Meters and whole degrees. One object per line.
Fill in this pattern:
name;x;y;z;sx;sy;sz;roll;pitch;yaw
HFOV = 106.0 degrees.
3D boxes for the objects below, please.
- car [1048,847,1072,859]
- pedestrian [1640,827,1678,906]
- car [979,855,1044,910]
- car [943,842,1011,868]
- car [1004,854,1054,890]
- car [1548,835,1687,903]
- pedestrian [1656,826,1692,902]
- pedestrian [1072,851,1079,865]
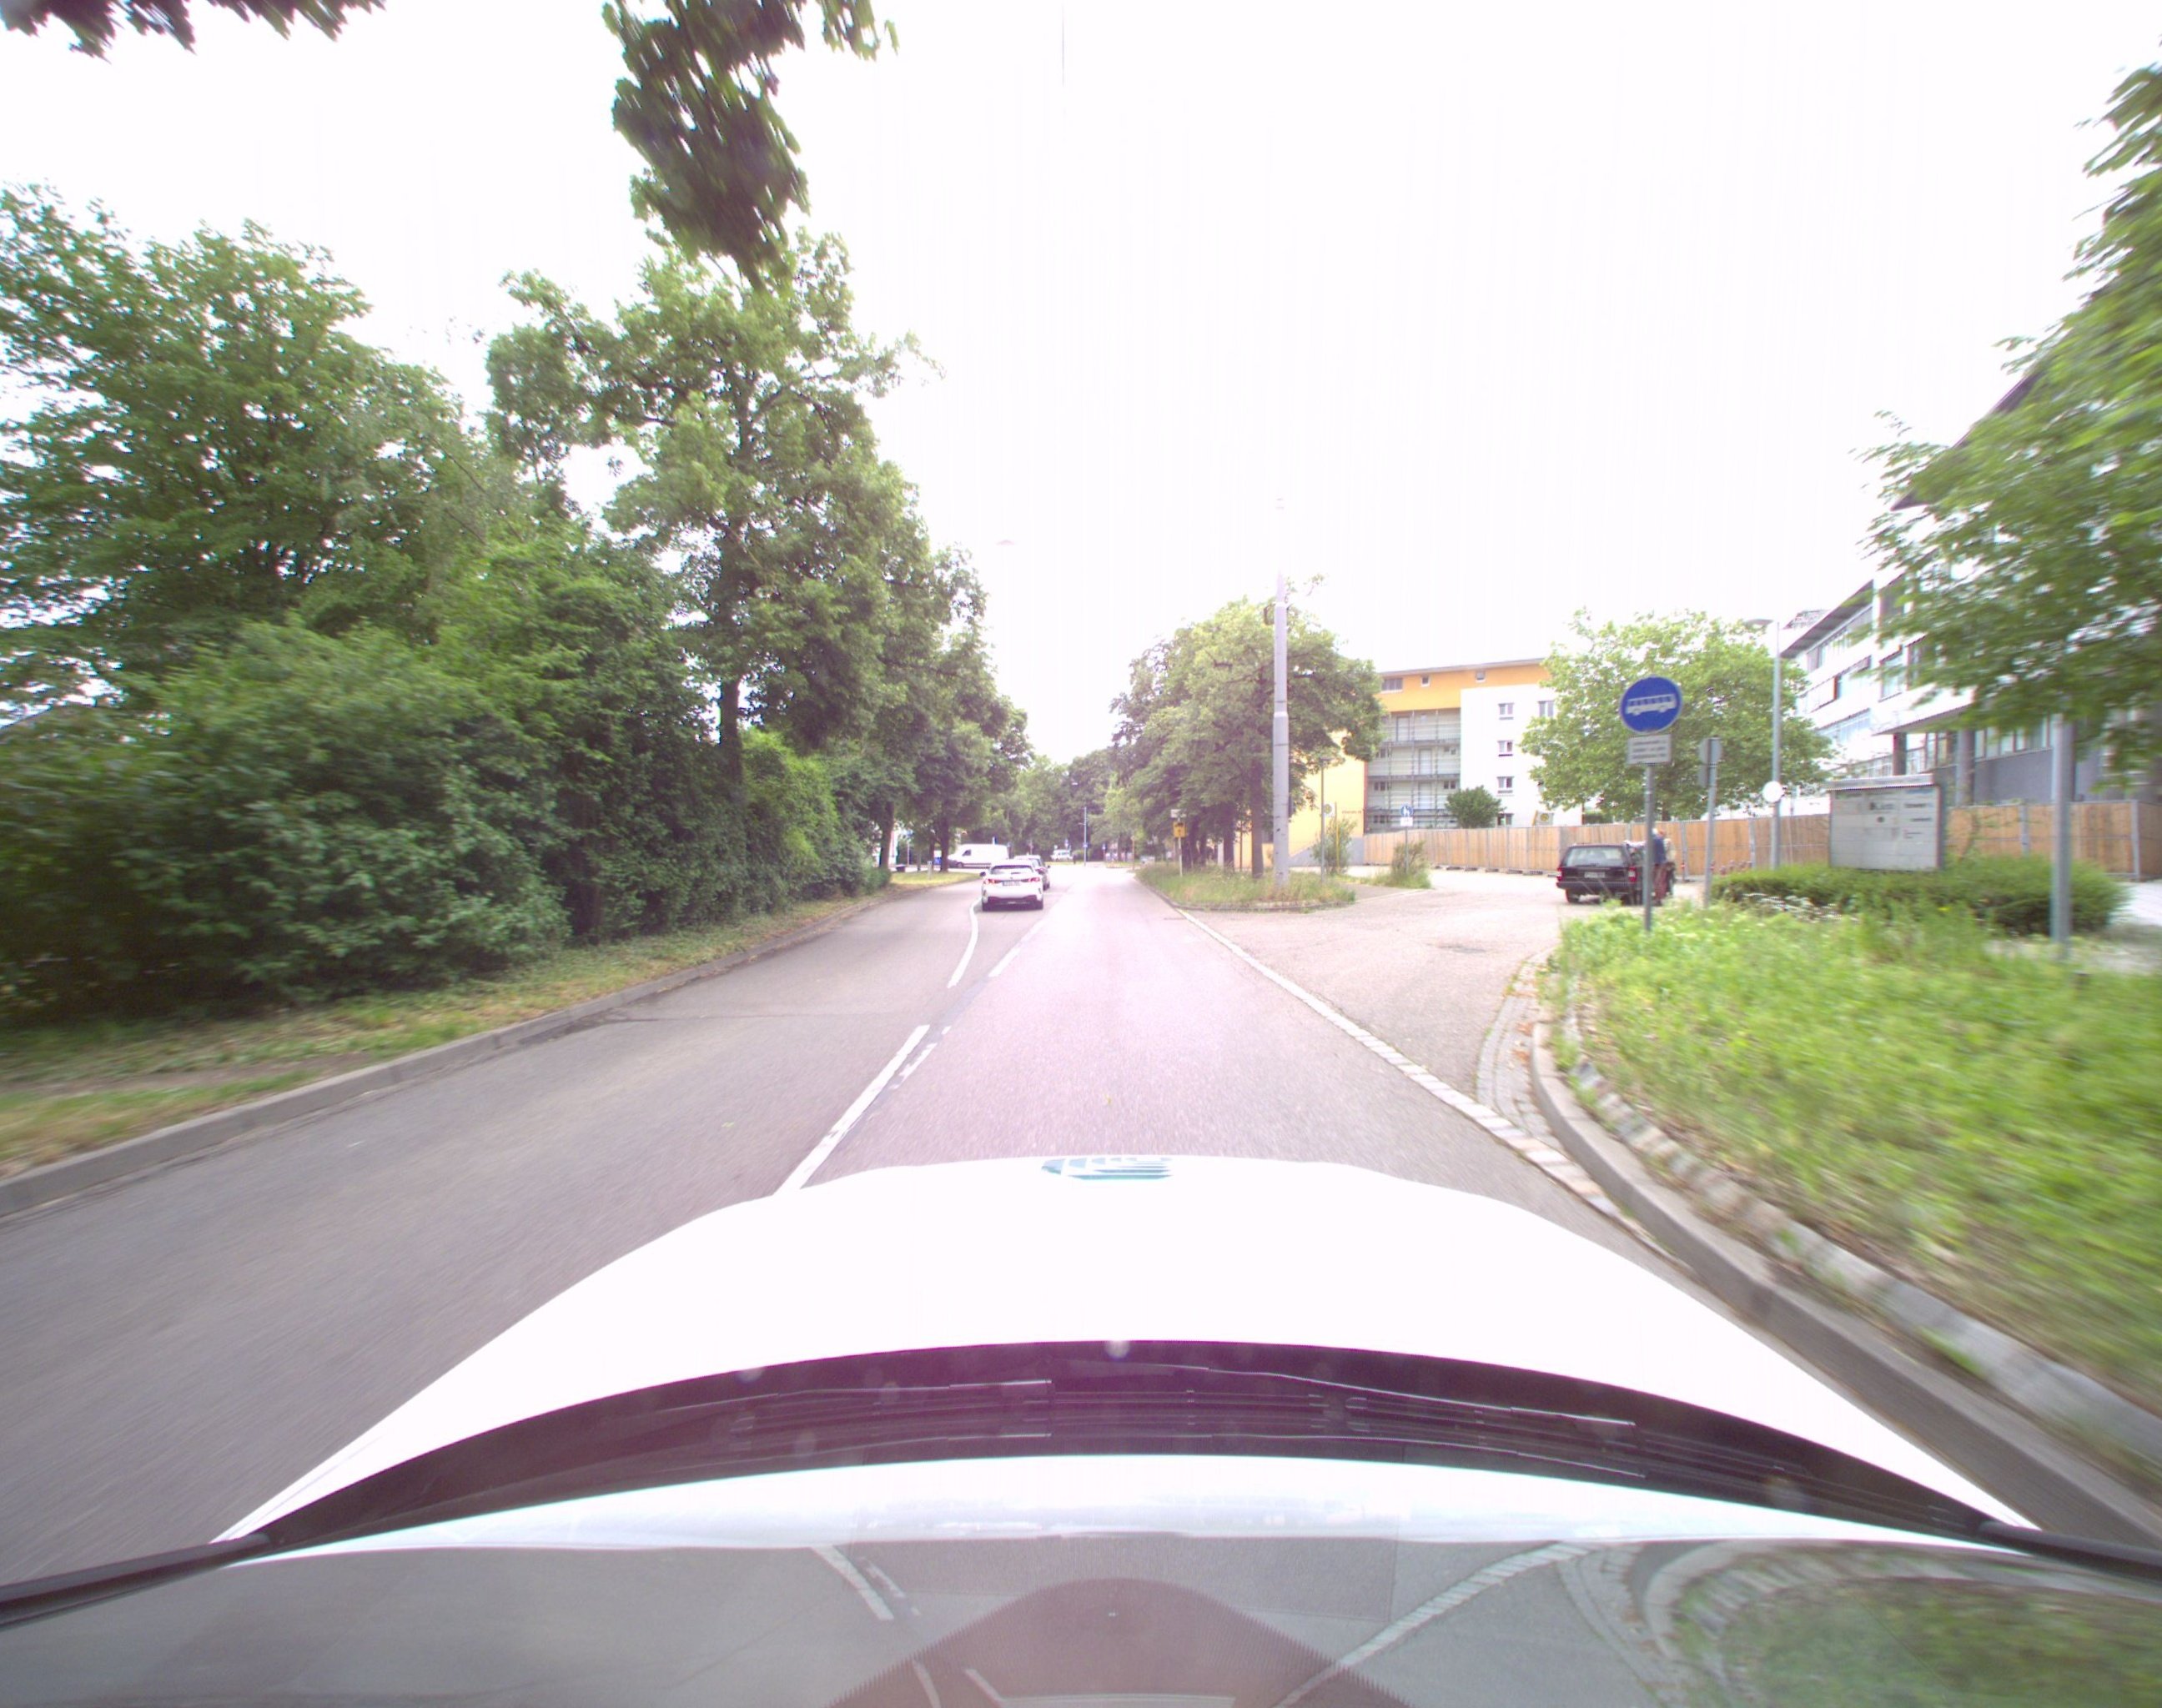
car;-4.524;-0.205;177.790;2.111;2.297;5.419;3;1;40
pedestrian;13.285;0.268;18.718;0.476;1.754;0.579;-4;4;-29
car;-2.076;0.817;25.227;1.792;1.517;4.202;-2;0;-3
car;-10.977;0.133;86.320;7.011;2.521;2.062;1;2;-36
car;-2.362;0.787;37.828;1.916;1.574;4.002;0;0;2
car;13.720;0.325;20.709;4.769;1.516;1.848;-2;0;-43
pedestrian;13.894;0.224;19.077;0.500;1.725;0.531;-4;4;-29
pedestrian;-0.822;0.537;117.637;0.921;1.871;1.018;-4;3;-3
